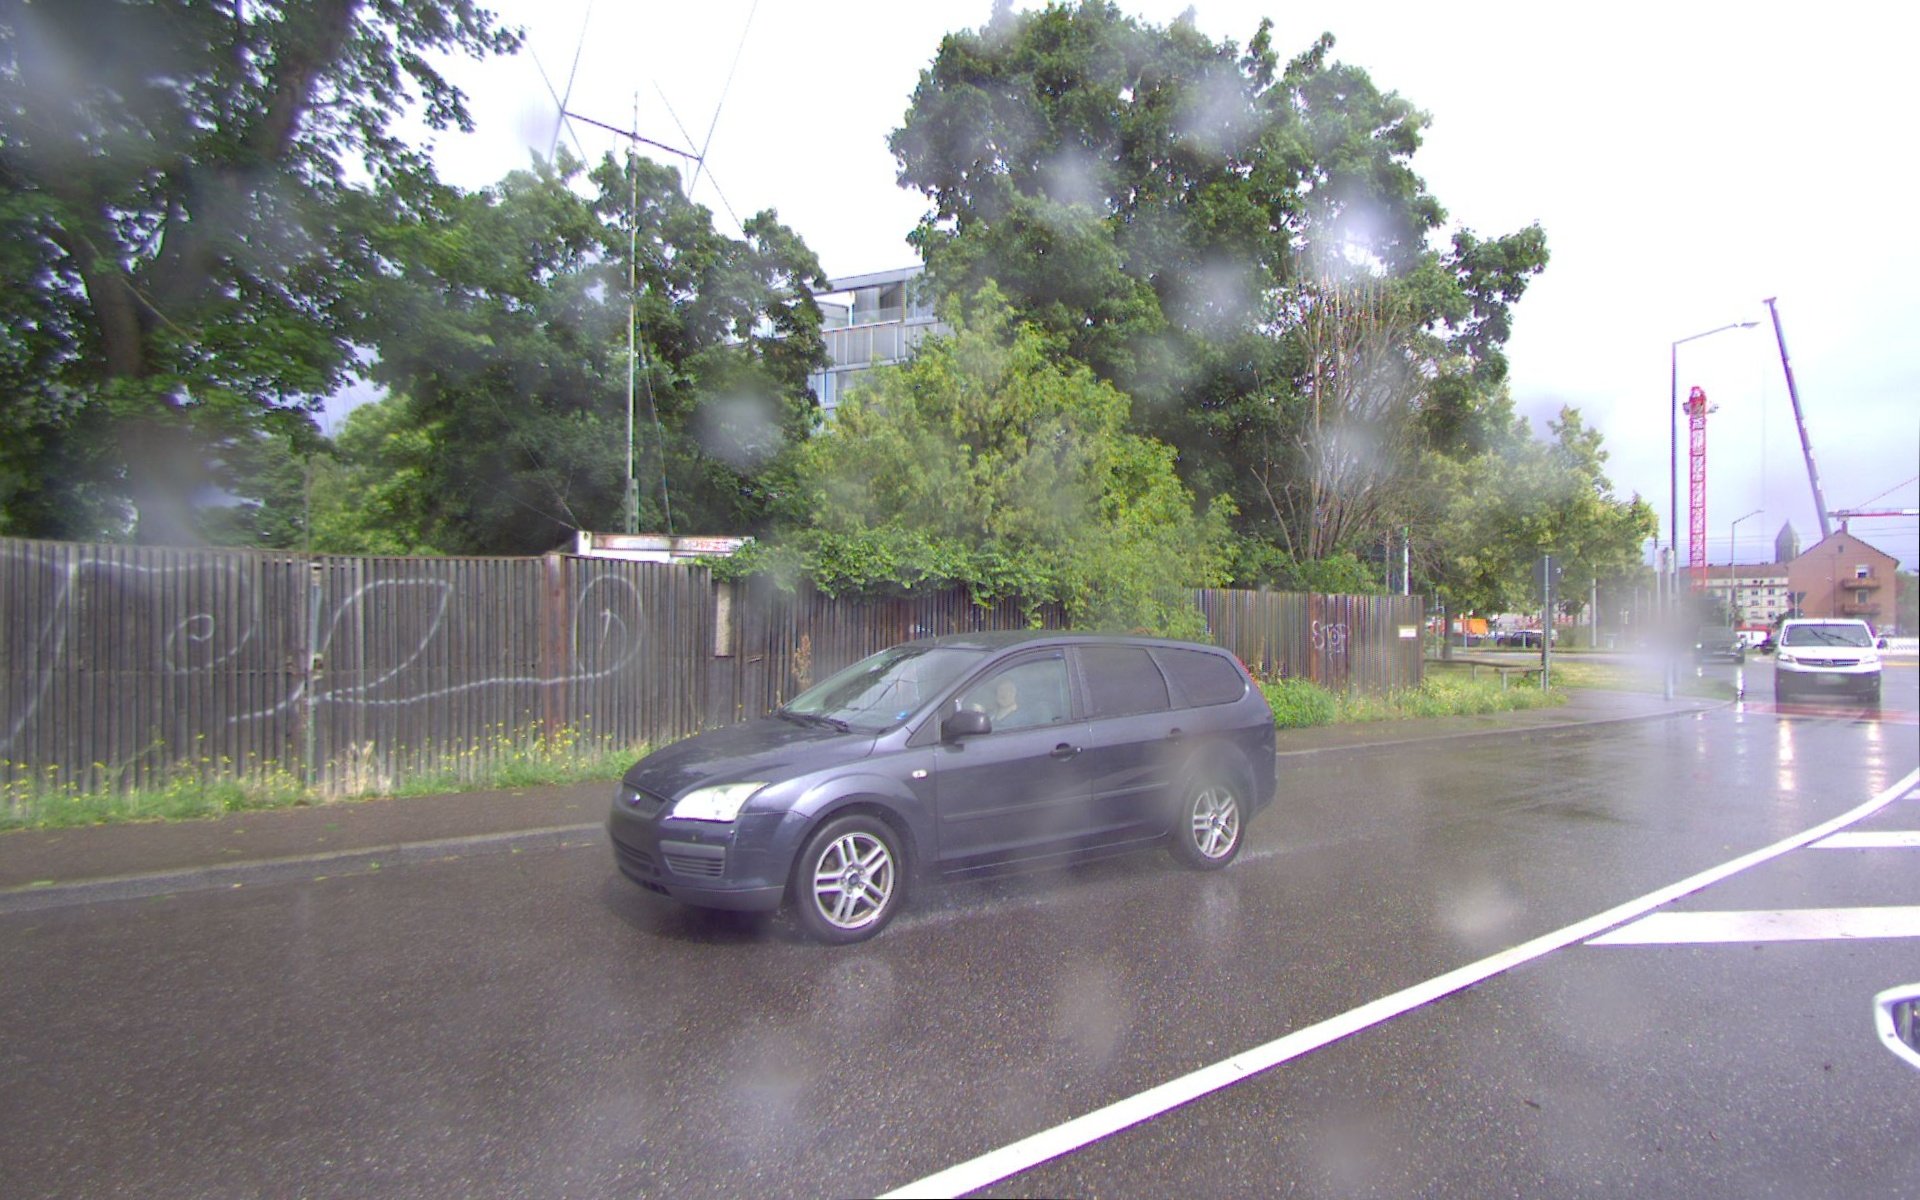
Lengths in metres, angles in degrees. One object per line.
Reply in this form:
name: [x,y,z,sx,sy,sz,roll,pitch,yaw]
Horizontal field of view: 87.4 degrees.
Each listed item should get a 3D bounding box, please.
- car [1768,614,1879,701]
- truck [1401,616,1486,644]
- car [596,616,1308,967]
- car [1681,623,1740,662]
car: [20.901,1.318,24.469,1.865,1.901,5.110,-1,-2,39]
truck: [43.507,2.689,90.527,2.408,2.475,6.663,1,-2,-33]
car: [0.106,0.904,6.273,4.136,1.502,1.862,2,-2,-35]
car: [34.374,1.913,46.112,1.709,1.686,4.101,0,-2,30]
